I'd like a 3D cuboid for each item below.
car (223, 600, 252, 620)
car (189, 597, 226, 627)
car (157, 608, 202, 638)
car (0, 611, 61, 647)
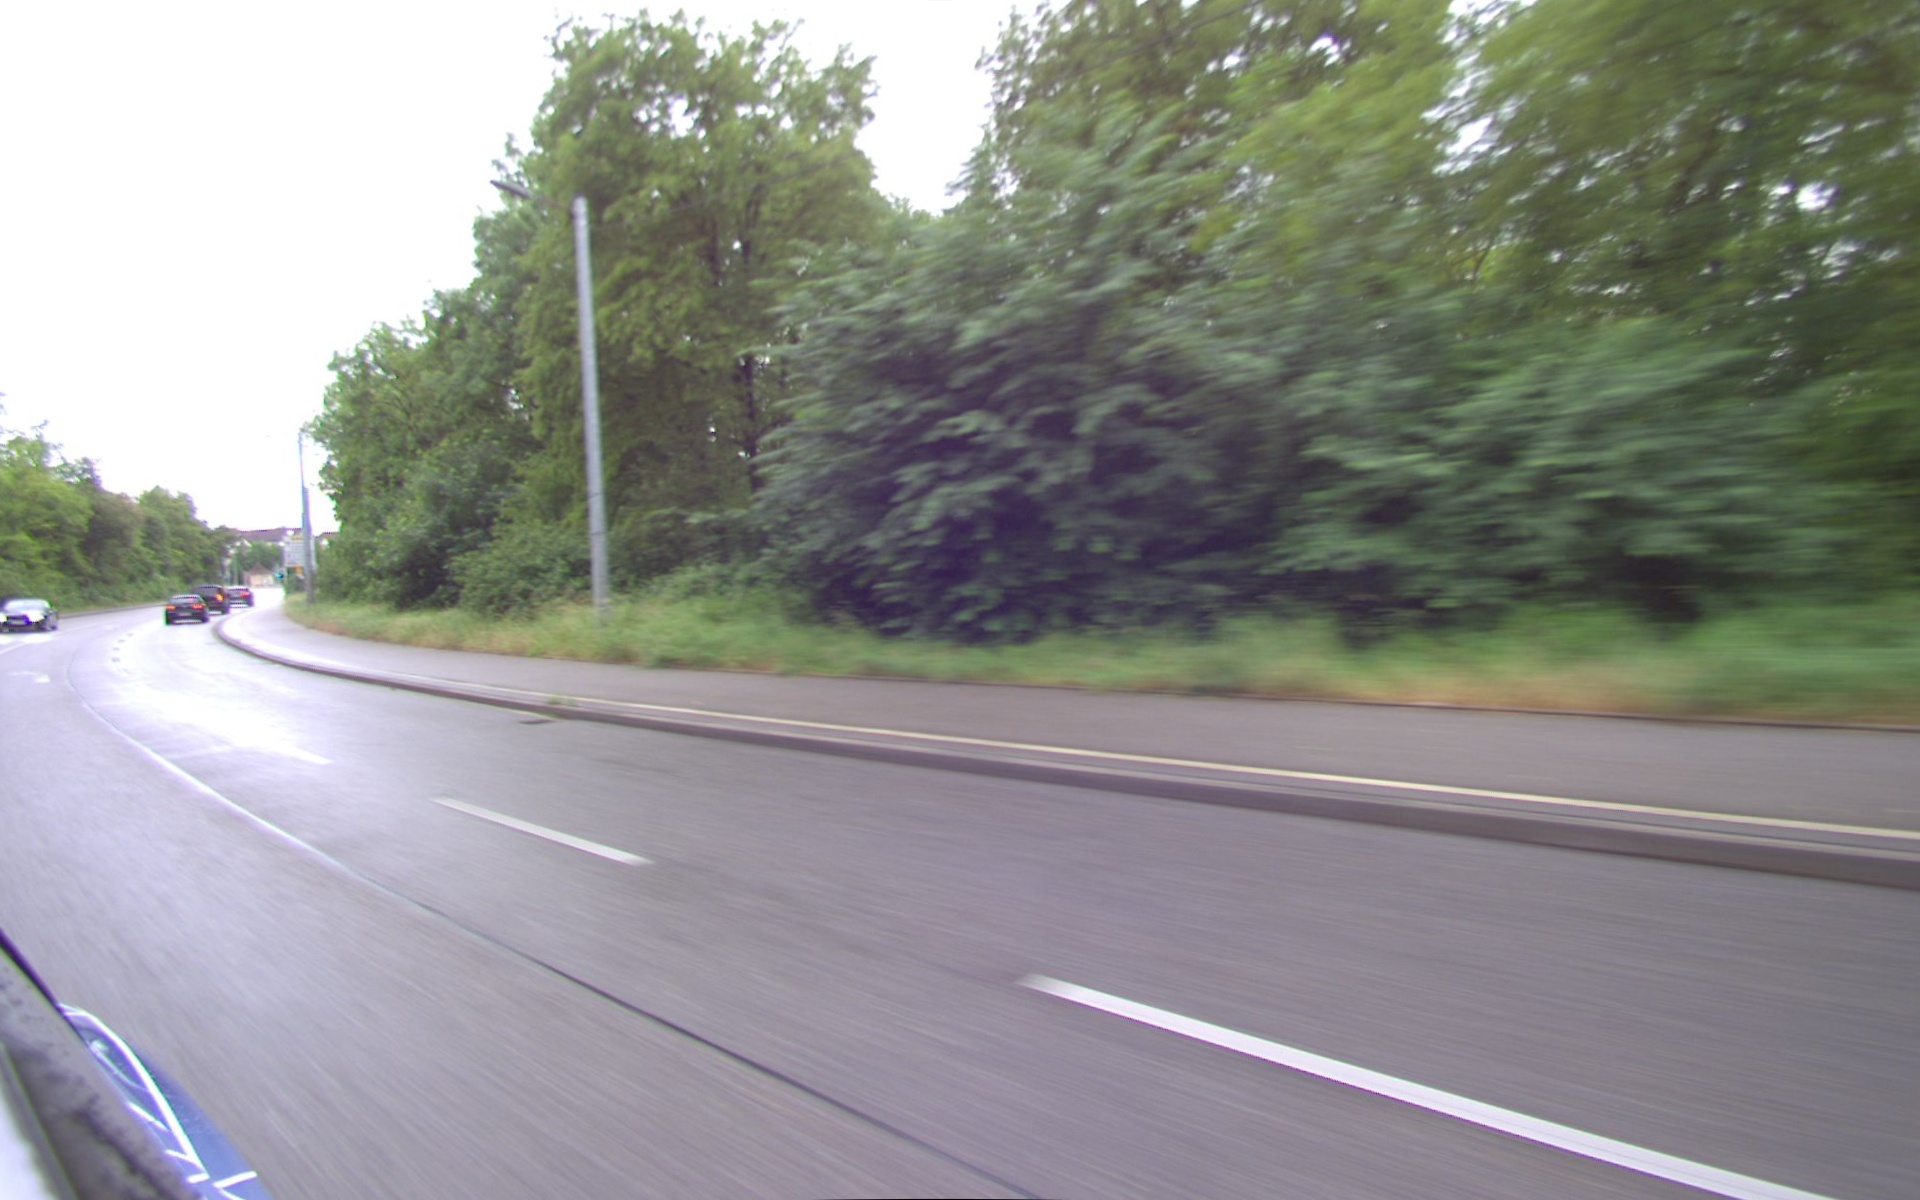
[{"bbox_3d":[-59.542,0.833,83.335,1.803,1.532,4.009,3,-3,-37],"label":"car"},{"bbox_3d":[-49.579,0.815,66.680,1.803,1.857,4.721,3,-3,-37],"label":"car"},{"bbox_3d":[-41.372,1.214,53.699,1.803,1.451,4.009,-2,0,-37],"label":"car"},{"bbox_3d":[-42.385,1.331,46.061,1.803,1.532,4.009,3,-3,-37],"label":"car"}]
